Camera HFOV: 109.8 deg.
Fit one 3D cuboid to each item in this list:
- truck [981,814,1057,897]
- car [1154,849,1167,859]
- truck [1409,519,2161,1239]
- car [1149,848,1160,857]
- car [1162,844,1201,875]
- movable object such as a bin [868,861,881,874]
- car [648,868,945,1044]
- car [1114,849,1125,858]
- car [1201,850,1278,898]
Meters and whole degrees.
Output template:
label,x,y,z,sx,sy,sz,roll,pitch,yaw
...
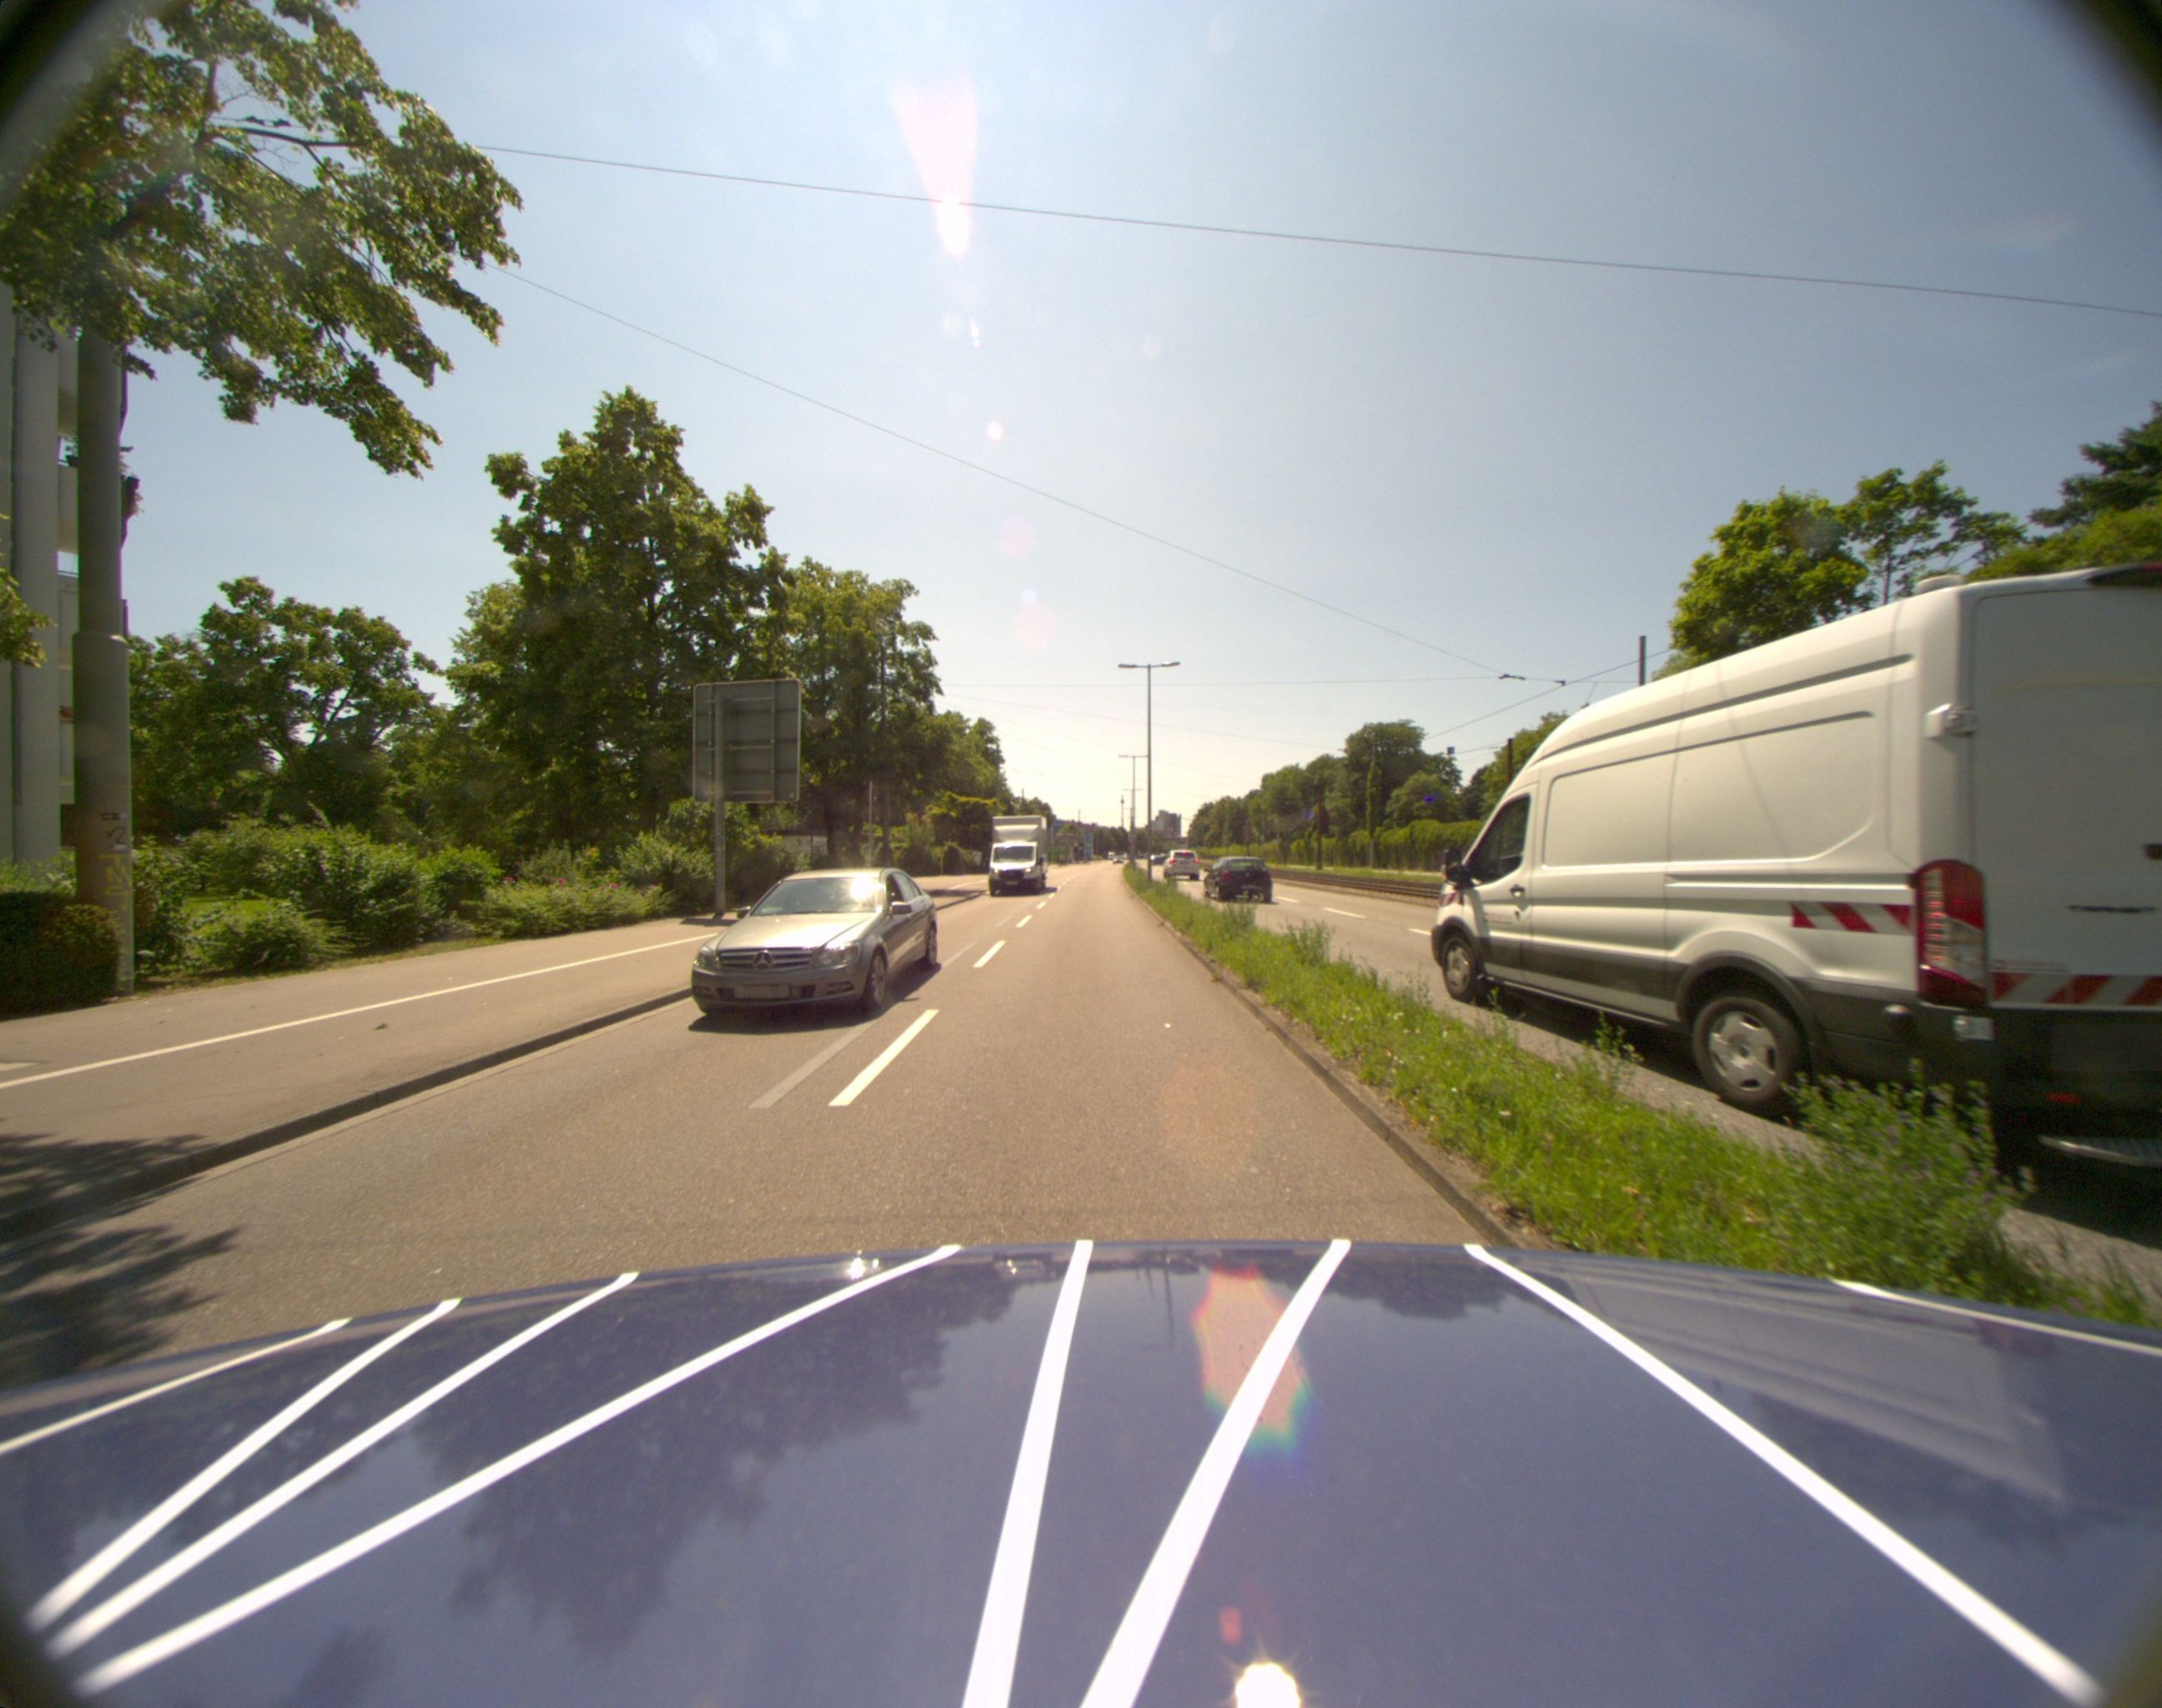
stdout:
label,x,y,z,sx,sy,sz,roll,pitch,yaw
truck,-2.587,0.005,34.289,2.294,3.259,8.312,-1,1,3
car,11.469,-0.019,109.419,1.698,1.462,3.791,1,0,4
truck,4.689,0.100,5.659,2.086,2.732,5.546,1,0,0
car,13.209,-0.273,136.667,1.765,1.512,4.097,1,0,2
car,6.068,0.297,46.286,1.905,1.738,4.587,-1,0,1
movable object such as a bin,-14.242,0.936,52.454,0.630,0.898,0.637,-1,1,4
car,-2.955,0.972,8.924,1.903,1.451,3.971,-2,0,1
car,7.001,-0.121,137.399,1.829,1.556,4.001,-1,1,4
car,5.113,0.585,24.943,1.720,1.450,3.913,0,0,0
